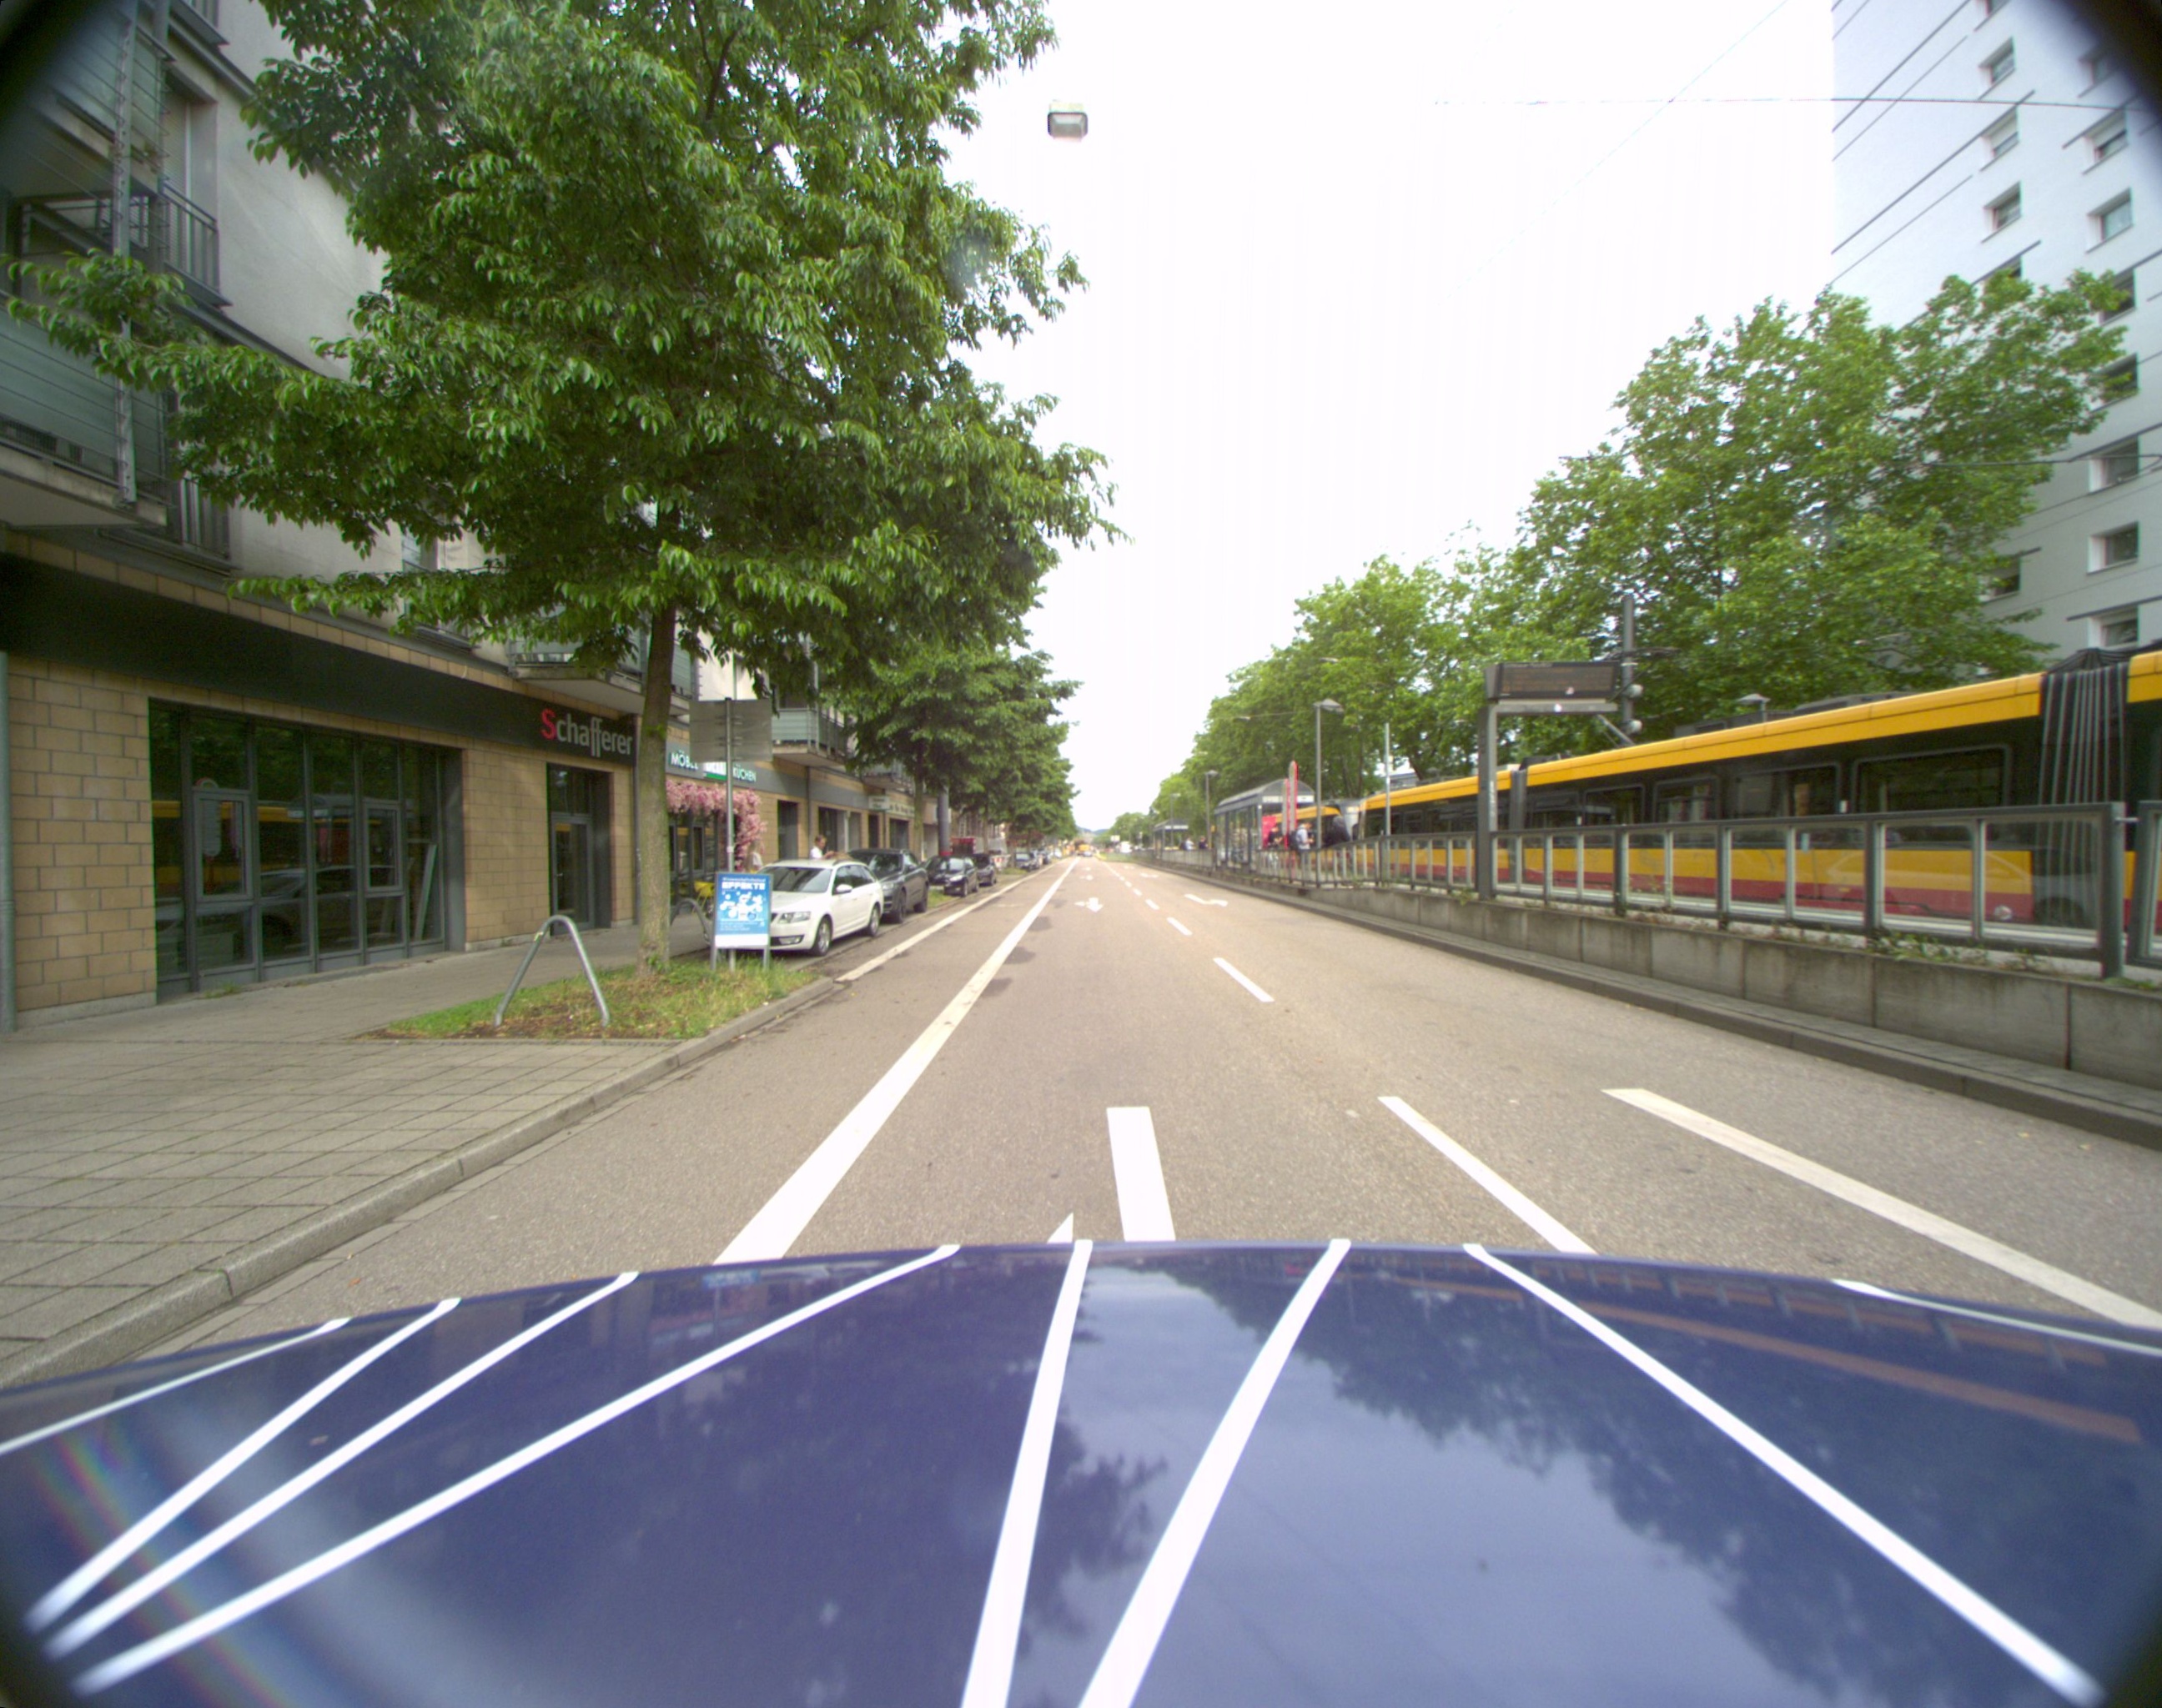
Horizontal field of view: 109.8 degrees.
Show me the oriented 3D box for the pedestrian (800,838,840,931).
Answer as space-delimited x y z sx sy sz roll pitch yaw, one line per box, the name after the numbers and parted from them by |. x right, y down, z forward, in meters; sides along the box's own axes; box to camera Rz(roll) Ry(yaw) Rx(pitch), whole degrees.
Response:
-5.390 0.620 15.724 0.599 1.873 0.656 -1 1 -5 | pedestrian

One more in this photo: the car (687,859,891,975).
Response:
-4.711 0.914 13.006 1.738 1.512 4.308 2 1 1 | car

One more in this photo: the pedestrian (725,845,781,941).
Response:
-6.071 0.691 14.068 0.616 1.707 0.740 1 2 41 | pedestrian

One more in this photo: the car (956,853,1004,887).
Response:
-4.552 0.685 34.741 1.612 1.393 3.667 2 1 1 | car

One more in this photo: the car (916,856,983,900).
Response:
-4.631 0.799 27.280 1.612 1.370 4.167 2 1 1 | car

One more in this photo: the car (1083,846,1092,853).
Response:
1.325 -0.884 158.397 1.716 1.379 4.099 -2 1 1 | car

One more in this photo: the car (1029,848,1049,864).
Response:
-3.972 0.188 72.455 1.612 1.393 3.667 2 1 1 | car

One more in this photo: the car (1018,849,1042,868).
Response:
-4.125 0.349 62.169 1.612 1.393 3.667 2 1 1 | car

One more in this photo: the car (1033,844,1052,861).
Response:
-3.966 -0.165 78.225 1.612 1.674 3.806 2 1 1 | car

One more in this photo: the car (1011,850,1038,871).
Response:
-4.163 0.468 56.265 1.612 1.393 3.667 2 1 1 | car

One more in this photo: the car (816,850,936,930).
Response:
-4.708 0.752 18.008 1.738 1.601 3.798 2 1 1 | car
